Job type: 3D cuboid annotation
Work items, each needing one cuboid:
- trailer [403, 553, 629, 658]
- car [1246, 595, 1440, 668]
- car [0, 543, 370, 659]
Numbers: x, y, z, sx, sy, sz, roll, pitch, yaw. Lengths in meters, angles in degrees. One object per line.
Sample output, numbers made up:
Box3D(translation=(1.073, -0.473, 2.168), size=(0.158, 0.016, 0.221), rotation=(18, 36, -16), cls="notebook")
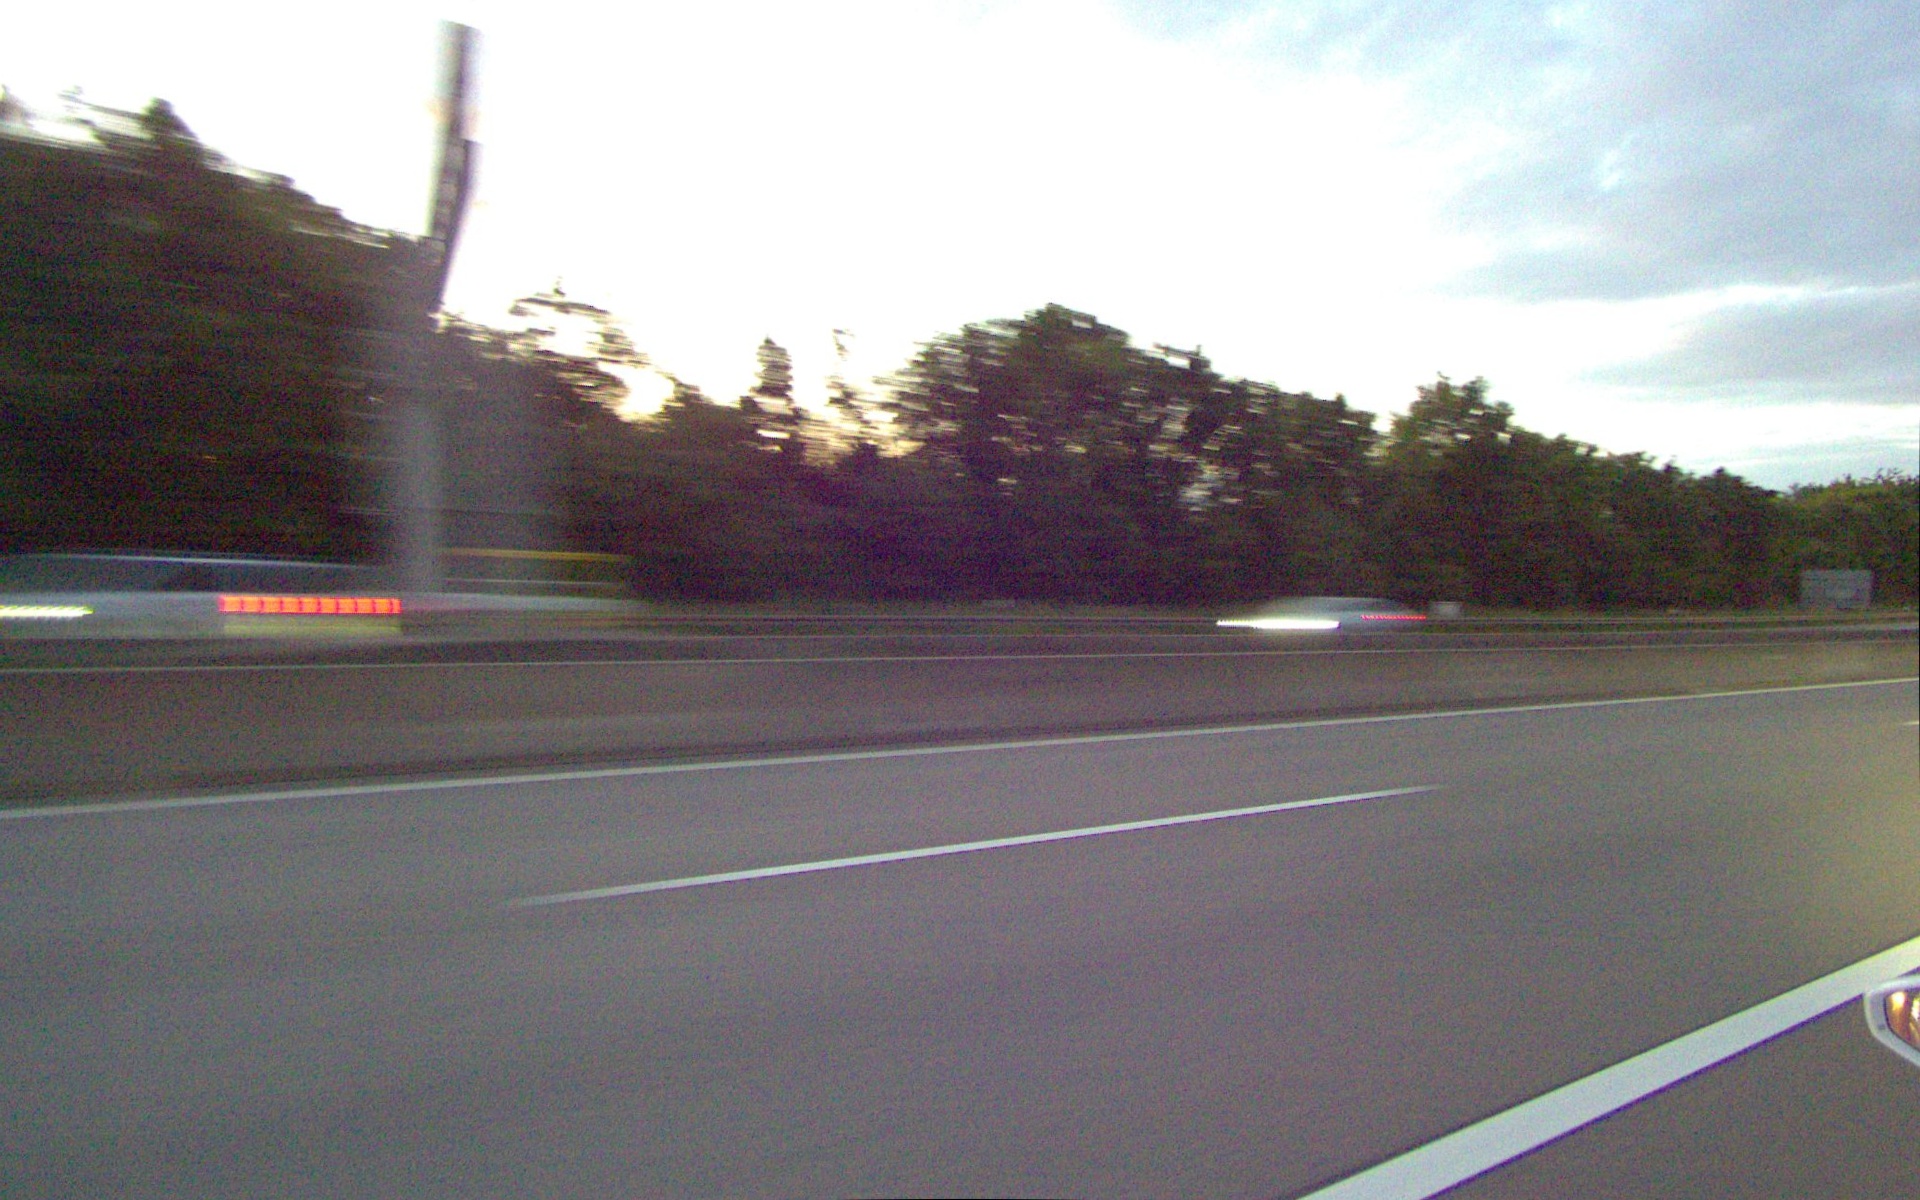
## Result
Box3D(translation=(-9.373, 0.115, 21.248), size=(4.190, 2.029, 1.904), rotation=(1, 2, -30), cls="trailer")
Box3D(translation=(10.939, 0.899, 28.479), size=(5.948, 1.892, 1.902), rotation=(2, 0, -32), cls="car")
Box3D(translation=(-14.038, 0.073, 18.418), size=(5.458, 1.892, 1.904), rotation=(2, 0, -30), cls="car")
